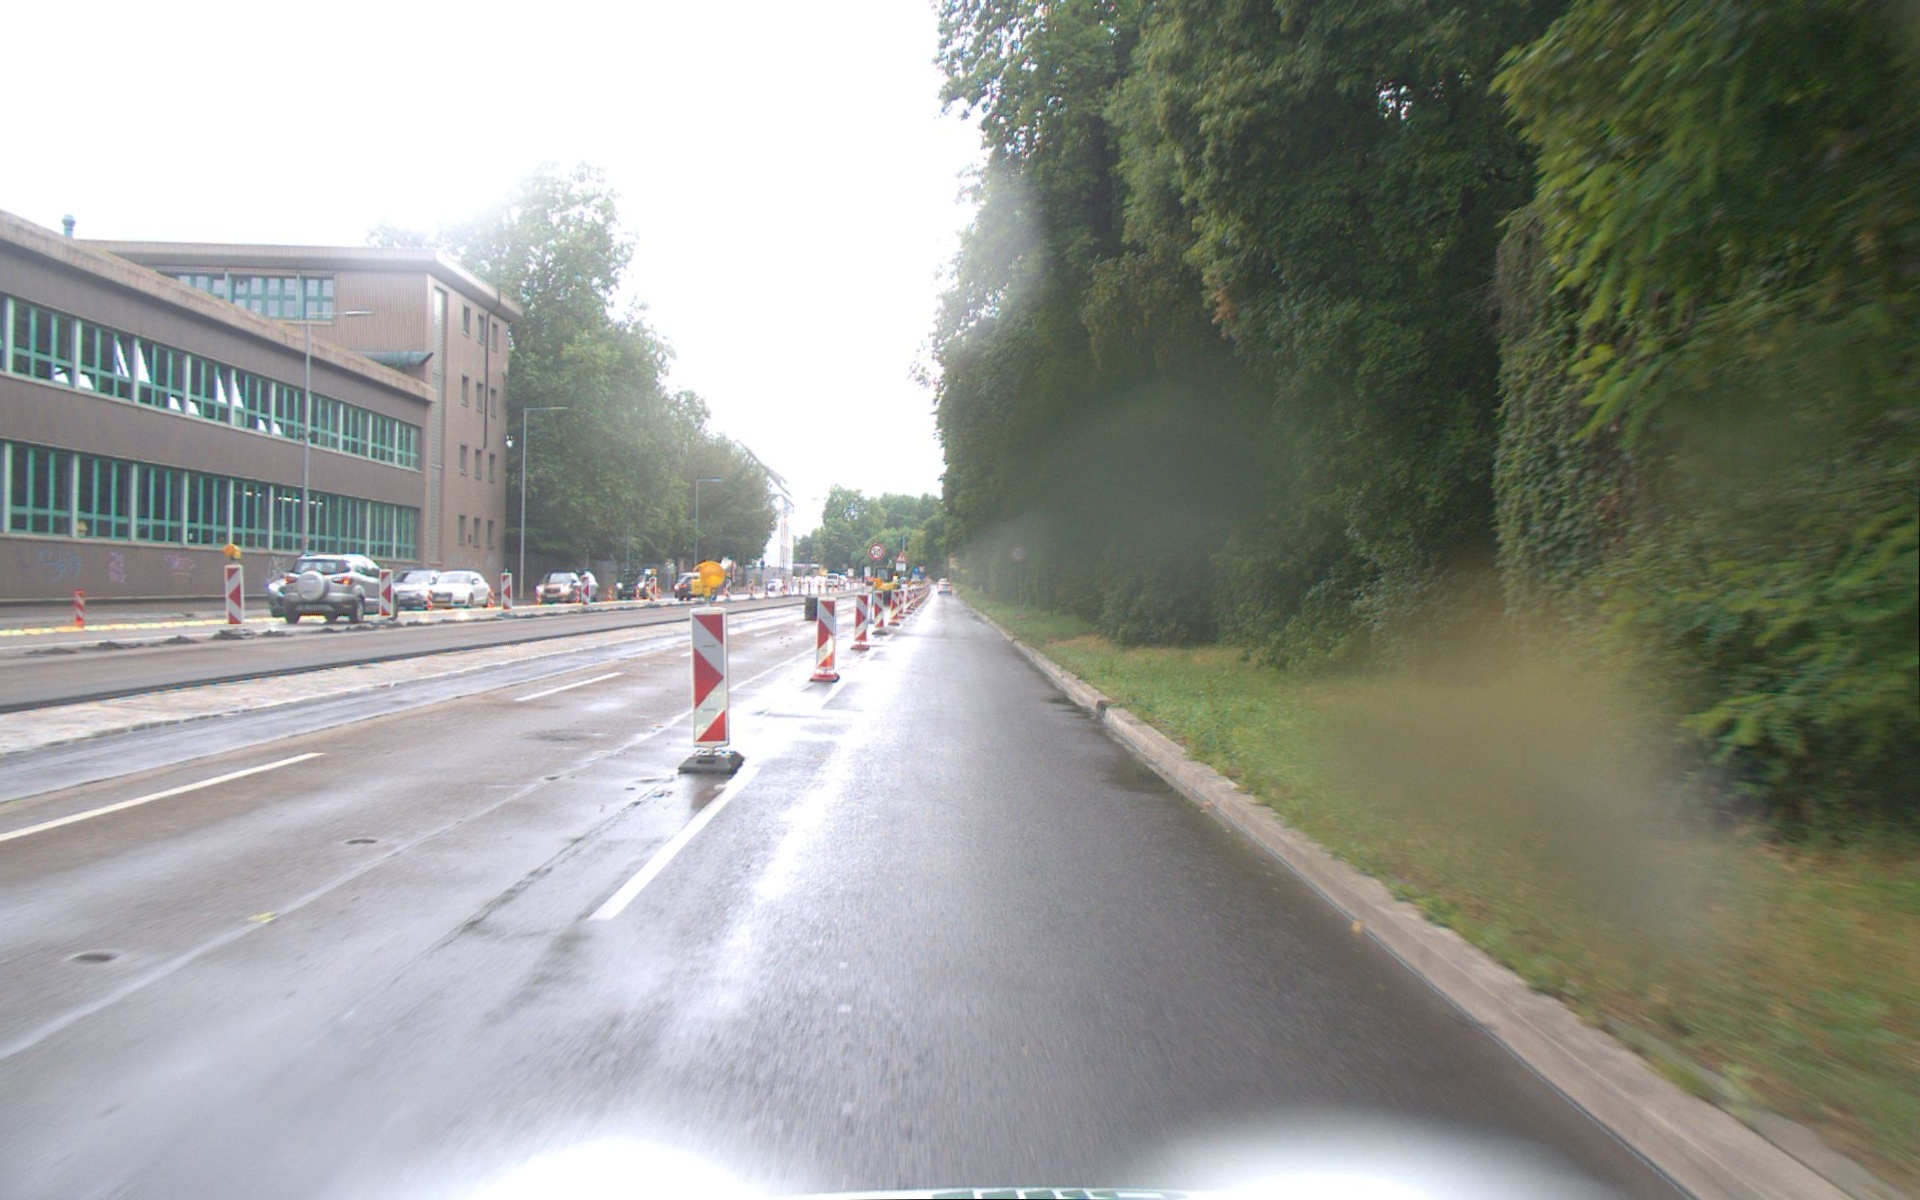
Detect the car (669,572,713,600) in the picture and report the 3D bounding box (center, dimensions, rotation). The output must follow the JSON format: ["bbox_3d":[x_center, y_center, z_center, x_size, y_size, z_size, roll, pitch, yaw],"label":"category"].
[{"bbox_3d":[-16.052,-0.802,98.818,1.953,1.545,3.999,2,0,-1],"label":"car"}]

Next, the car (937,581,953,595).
[{"bbox_3d":[-1.883,-1.491,210.379,1.953,1.702,3.999,2,0,-1],"label":"car"}]

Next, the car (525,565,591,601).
[{"bbox_3d":[-18.745,-0.777,77.337,1.855,1.528,4.516,2,0,1],"label":"car"}]

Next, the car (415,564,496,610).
[{"bbox_3d":[-18.412,-0.468,60.523,1.767,1.561,3.991,2,0,-1],"label":"car"}]

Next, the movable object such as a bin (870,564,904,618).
[{"bbox_3d":[-4.803,-0.575,109.230,1.953,3.426,5.981,2,0,-1],"label":"movable object such as a bin"}]

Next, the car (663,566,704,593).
[{"bbox_3d":[-19.727,-1.433,118.032,1.952,1.811,4.955,2,0,1],"label":"car"}]

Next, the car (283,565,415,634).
[{"bbox_3d":[-17.420,-0.002,47.431,1.948,1.799,4.675,2,0,1],"label":"car"}]

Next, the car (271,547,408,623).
[{"bbox_3d":[-14.983,-0.336,40.153,1.817,1.677,3.999,2,0,-1],"label":"car"}]

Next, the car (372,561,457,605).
[{"bbox_3d":[-21.352,-0.654,64.948,1.953,1.614,4.178,2,0,-1],"label":"car"}]
